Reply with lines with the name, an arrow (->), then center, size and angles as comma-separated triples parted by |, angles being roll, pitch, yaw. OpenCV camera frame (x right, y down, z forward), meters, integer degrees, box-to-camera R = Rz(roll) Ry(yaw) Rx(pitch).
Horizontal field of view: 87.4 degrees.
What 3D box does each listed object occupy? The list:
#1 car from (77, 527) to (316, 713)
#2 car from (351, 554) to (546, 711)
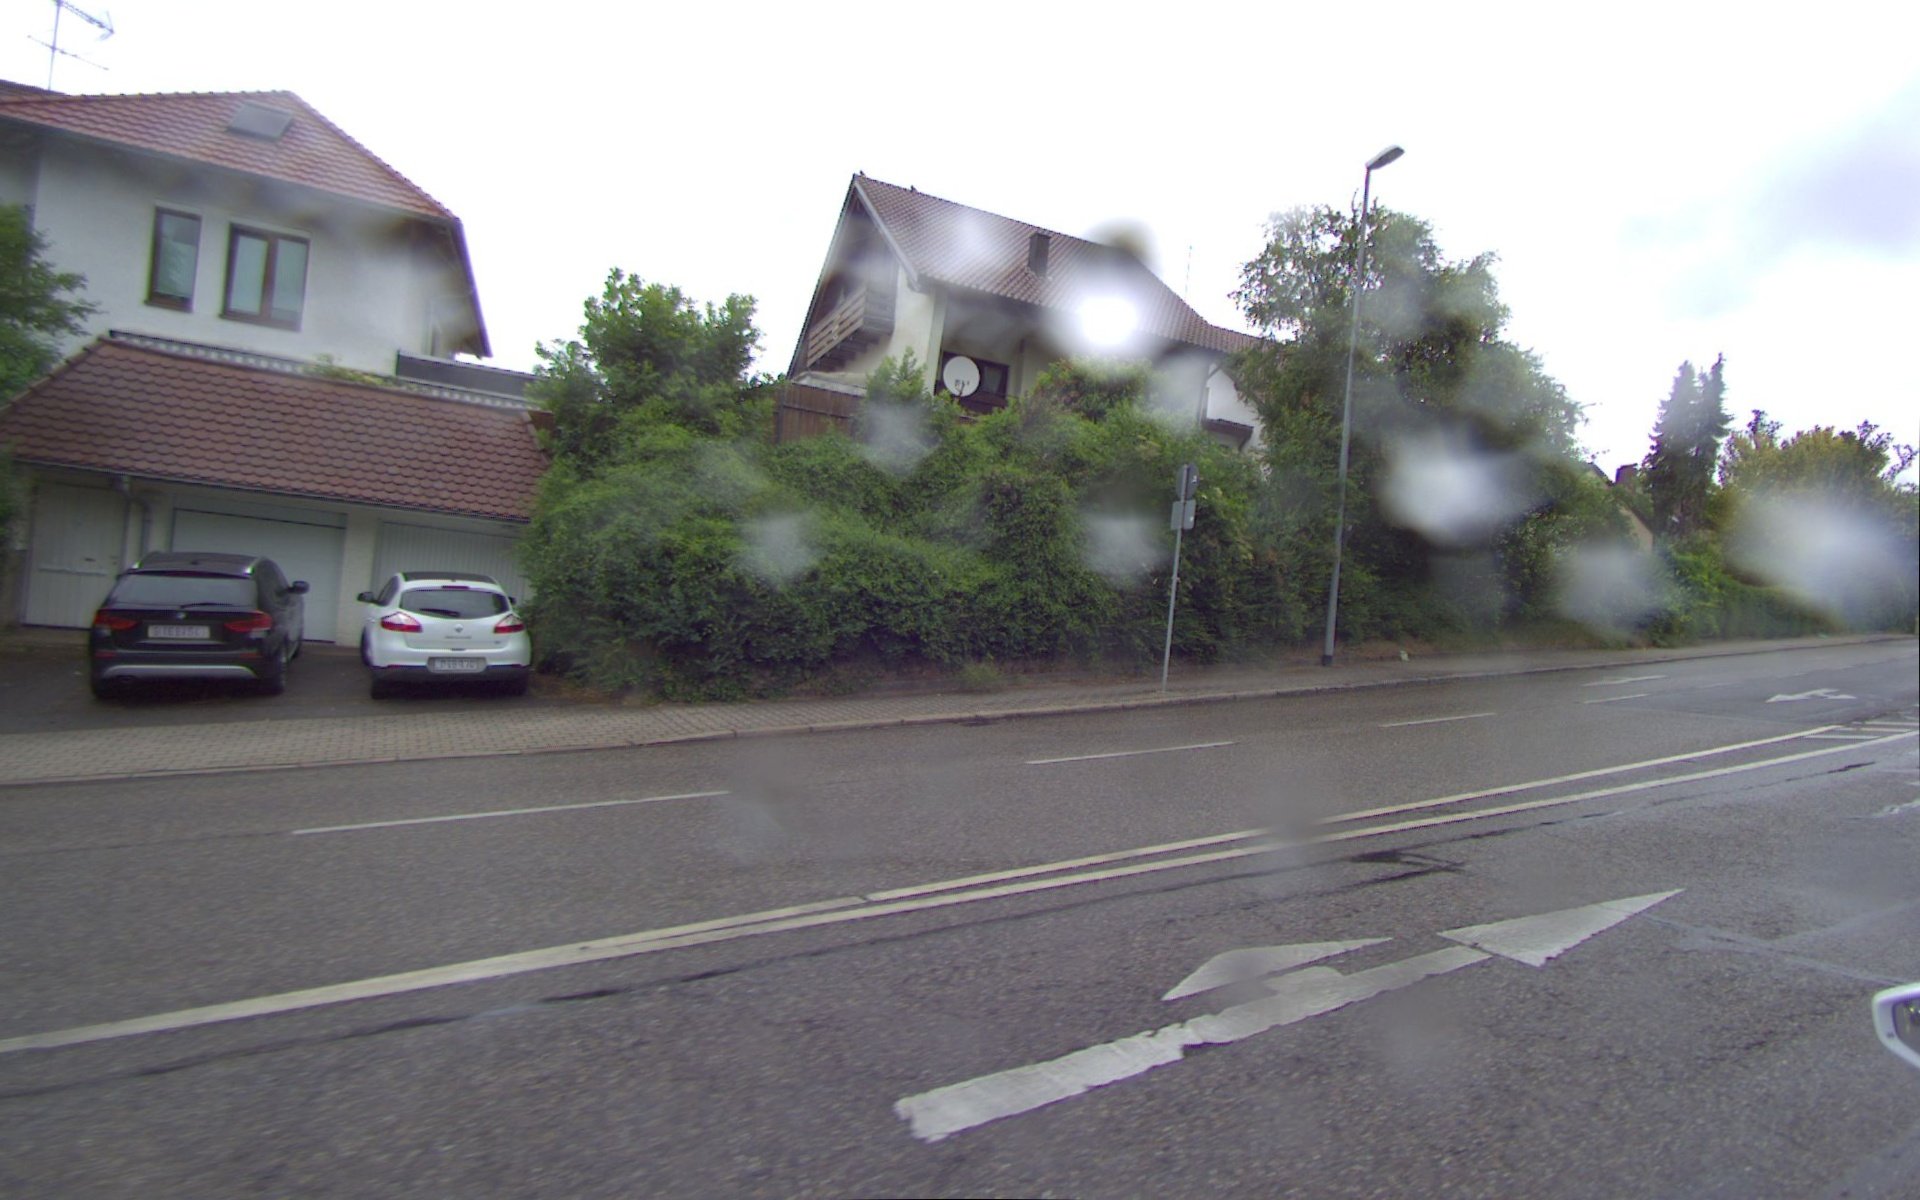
car -> -9.241, 0.121, 12.485 | 1.834, 1.701, 3.967 | 3, 5, -30
car -> -7.002, 0.329, 13.526 | 1.837, 1.467, 3.961 | 2, 6, -34
